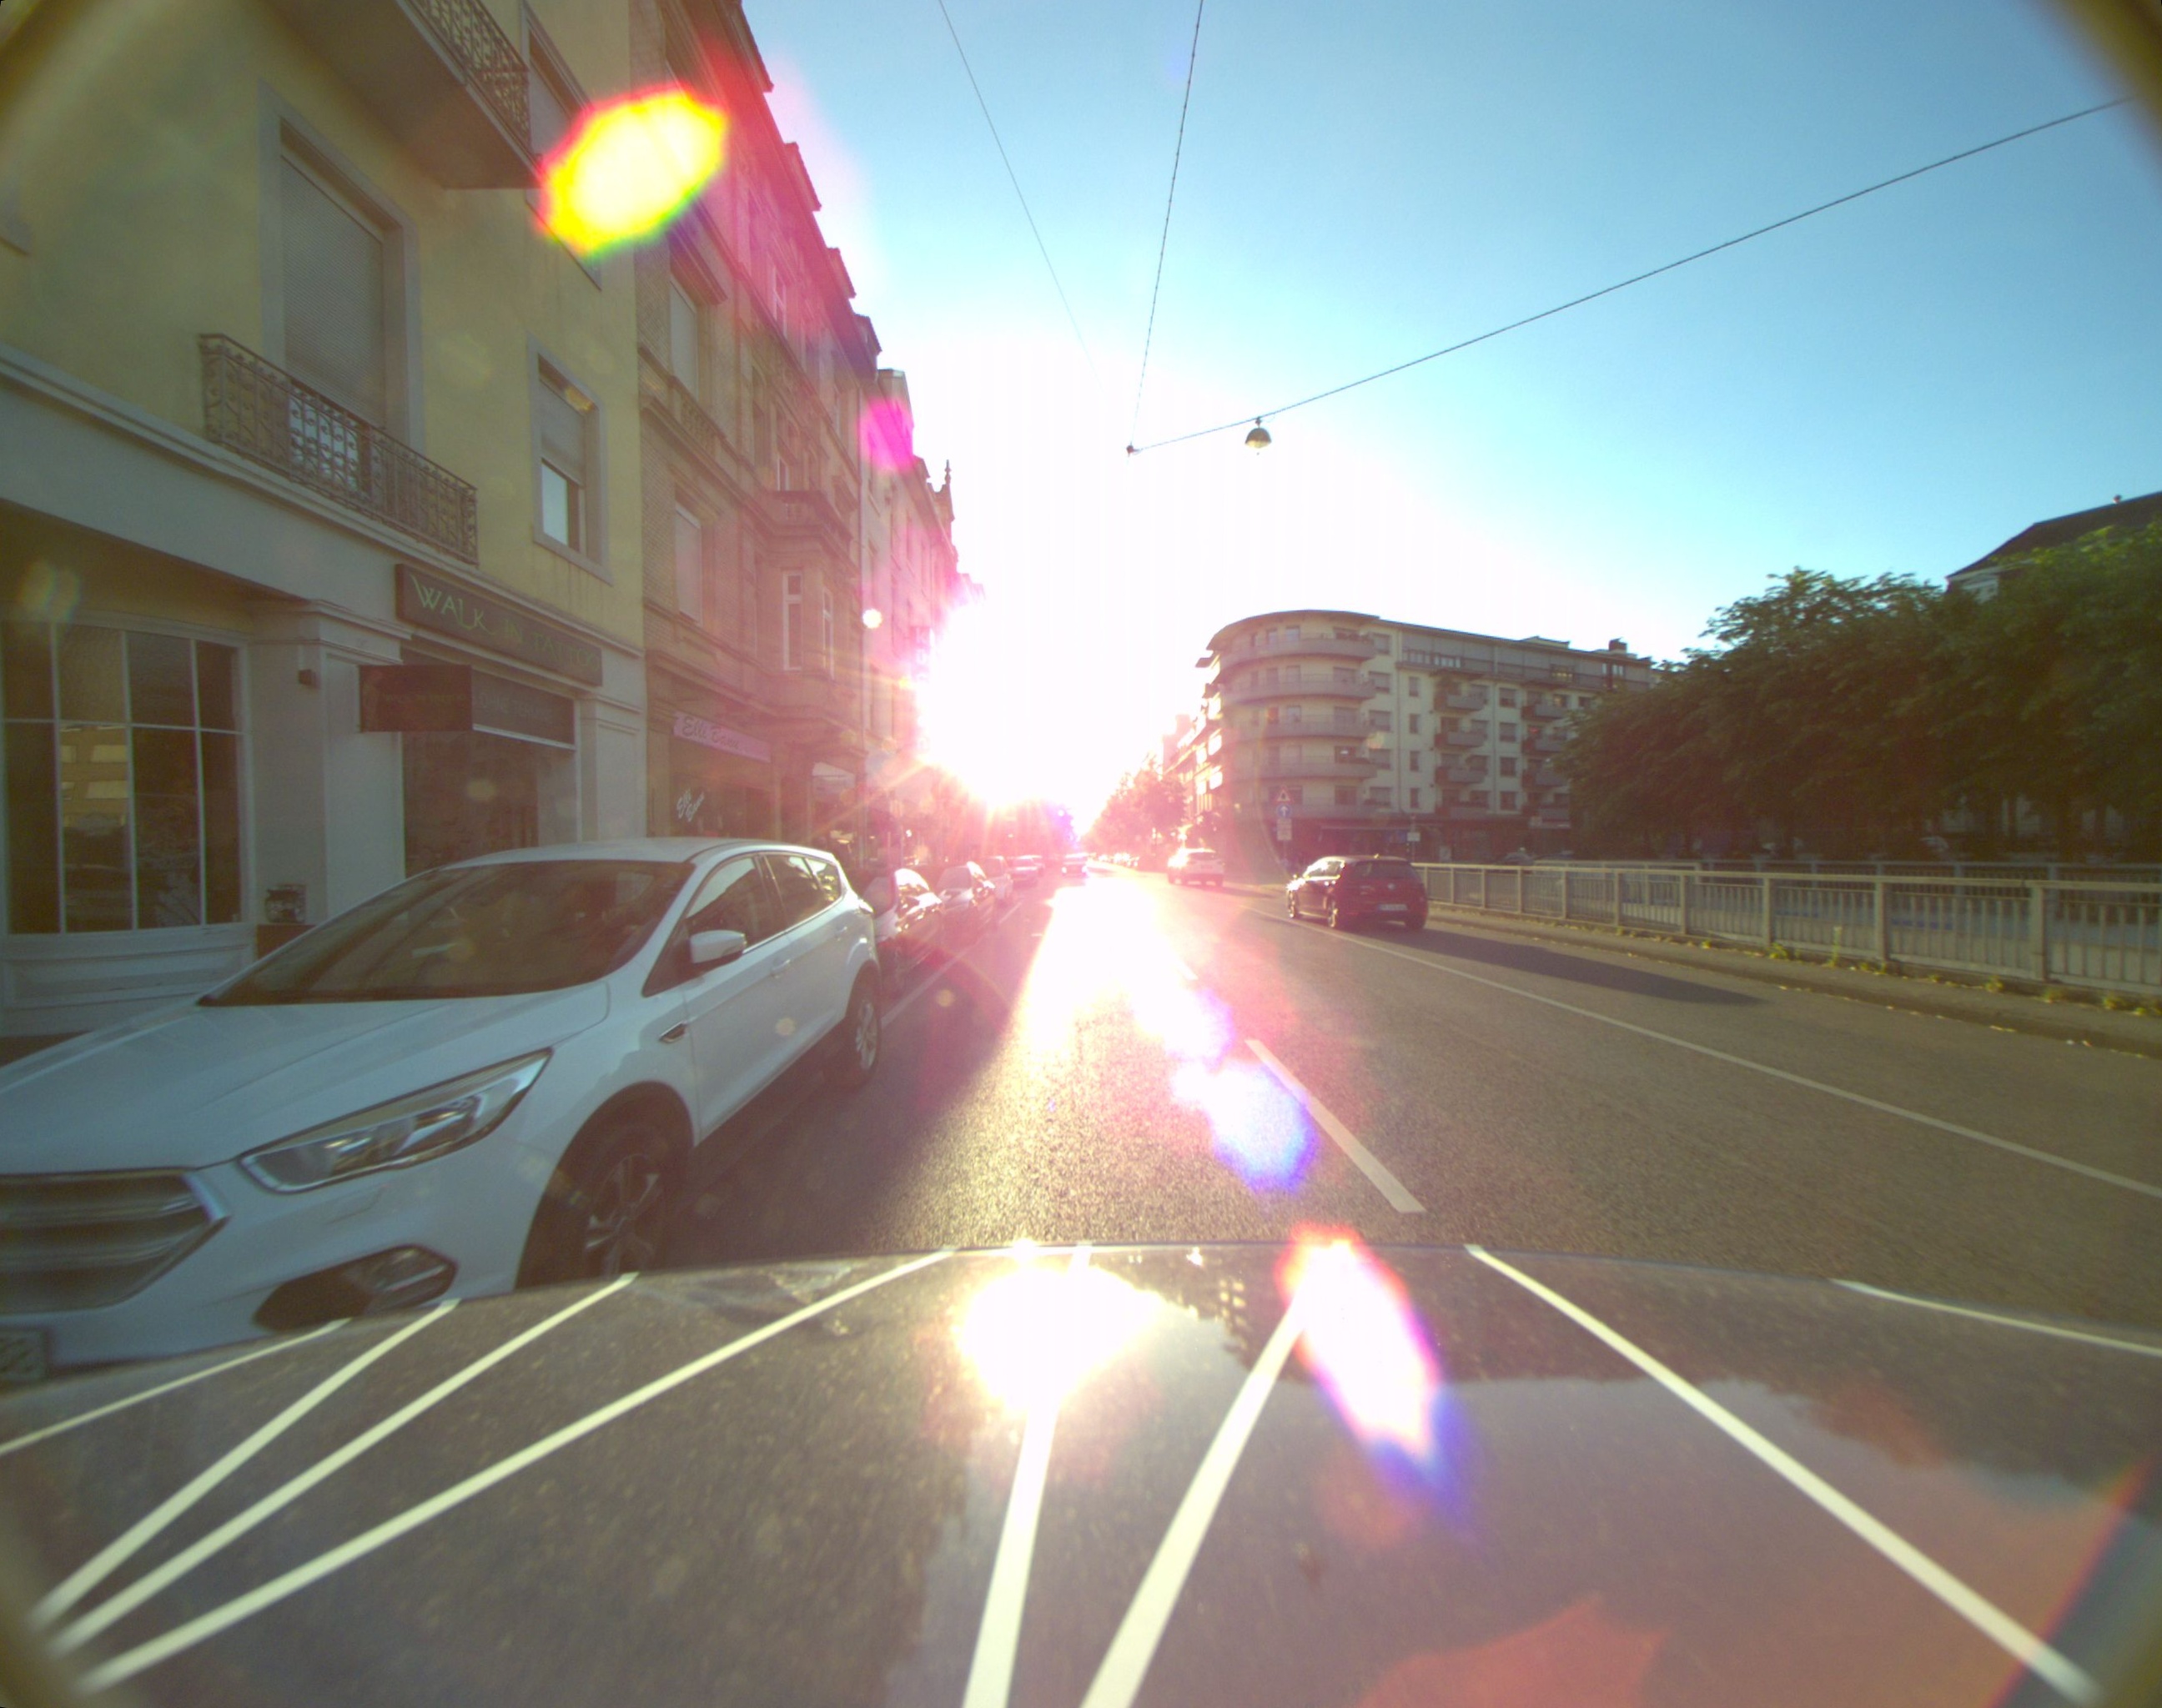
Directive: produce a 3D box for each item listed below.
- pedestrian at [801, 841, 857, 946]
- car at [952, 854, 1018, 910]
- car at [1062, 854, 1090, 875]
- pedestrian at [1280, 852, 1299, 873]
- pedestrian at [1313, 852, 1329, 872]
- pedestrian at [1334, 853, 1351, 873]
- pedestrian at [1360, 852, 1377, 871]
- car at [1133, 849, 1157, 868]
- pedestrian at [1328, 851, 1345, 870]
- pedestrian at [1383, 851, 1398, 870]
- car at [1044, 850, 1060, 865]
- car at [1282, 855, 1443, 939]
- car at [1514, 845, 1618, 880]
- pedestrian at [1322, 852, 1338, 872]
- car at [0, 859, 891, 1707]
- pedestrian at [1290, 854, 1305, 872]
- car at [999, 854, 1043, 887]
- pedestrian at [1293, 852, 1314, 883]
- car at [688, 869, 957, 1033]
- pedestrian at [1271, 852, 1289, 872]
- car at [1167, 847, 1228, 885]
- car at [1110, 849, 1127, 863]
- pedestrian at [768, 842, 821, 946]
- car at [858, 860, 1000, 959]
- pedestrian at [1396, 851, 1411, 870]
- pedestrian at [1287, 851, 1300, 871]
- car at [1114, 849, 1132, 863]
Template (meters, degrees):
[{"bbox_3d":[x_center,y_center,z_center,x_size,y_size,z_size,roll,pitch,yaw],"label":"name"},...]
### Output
[{"bbox_3d":[-4.953,0.760,14.978,0.763,2.002,0.851,-1,1,0],"label":"pedestrian"},{"bbox_3d":[-2.982,0.816,24.377,1.645,1.574,4.201,-1,0,-1],"label":"car"},{"bbox_3d":[-0.420,0.736,55.289,1.908,1.438,4.449,-1,0,-1],"label":"car"},{"bbox_3d":[13.752,0.570,50.076,0.890,1.314,0.731,-2,1,-31],"label":"pedestrian"},{"bbox_3d":[16.432,0.529,52.058,0.732,1.314,0.888,-1,1,-1],"label":"pedestrian"},{"bbox_3d":[17.984,0.602,52.307,0.733,1.314,0.888,-2,1,-13],"label":"pedestrian"},{"bbox_3d":[20.122,0.540,53.191,0.733,1.314,0.887,-2,1,-15],"label":"pedestrian"},{"bbox_3d":[6.474,0.453,77.368,1.999,1.805,3.999,-1,0,-1],"label":"car"},{"bbox_3d":[17.998,0.479,53.518,0.688,1.314,0.819,-2,1,-24],"label":"pedestrian"},{"bbox_3d":[22.488,0.486,55.245,0.731,1.314,0.890,-1,1,39],"label":"pedestrian"},{"bbox_3d":[-3.917,0.458,103.047,1.999,1.806,3.997,-1,2,-4],"label":"car"},{"bbox_3d":[5.648,0.778,15.797,1.790,1.458,3.956,0,1,-1],"label":"car"},{"bbox_3d":[24.666,0.419,38.785,2.003,1.642,3.991,-2,0,-29],"label":"car"},{"bbox_3d":[17.118,0.527,52.191,0.732,1.314,0.888,-1,1,-2],"label":"pedestrian"},{"bbox_3d":[-2.418,0.898,3.543,1.877,1.664,4.430,-1,0,1],"label":"car"},{"bbox_3d":[14.506,0.614,51.002,0.887,1.185,0.733,-1,1,10],"label":"pedestrian"},{"bbox_3d":[-2.896,0.766,37.439,1.908,1.421,4.449,-1,0,-1],"label":"car"},{"bbox_3d":[10.791,0.653,36.850,0.678,1.509,0.676,-2,1,-42],"label":"pedestrian"},{"bbox_3d":[-2.834,0.970,9.509,1.908,1.421,4.449,-1,0,-1],"label":"car"},{"bbox_3d":[13.307,0.530,50.894,0.890,1.314,0.731,-2,1,-27],"label":"pedestrian"},{"bbox_3d":[5.404,0.534,35.716,1.878,1.621,4.176,1,0,-5],"label":"car"},{"bbox_3d":[5.177,0.257,104.348,1.999,1.805,3.999,-1,0,-1],"label":"car"},{"bbox_3d":[-5.687,0.774,15.125,0.673,2.002,0.851,-1,1,0],"label":"pedestrian"},{"bbox_3d":[-2.715,0.923,14.663,1.908,1.531,4.449,-1,0,-1],"label":"car"},{"bbox_3d":[23.185,0.479,54.655,0.731,1.314,0.890,-1,1,39],"label":"pedestrian"},{"bbox_3d":[14.559,0.470,52.088,0.677,1.314,0.611,-1,1,-1],"label":"pedestrian"},{"bbox_3d":[5.432,0.281,99.578,1.999,1.805,3.999,-1,0,-1],"label":"car"}]
